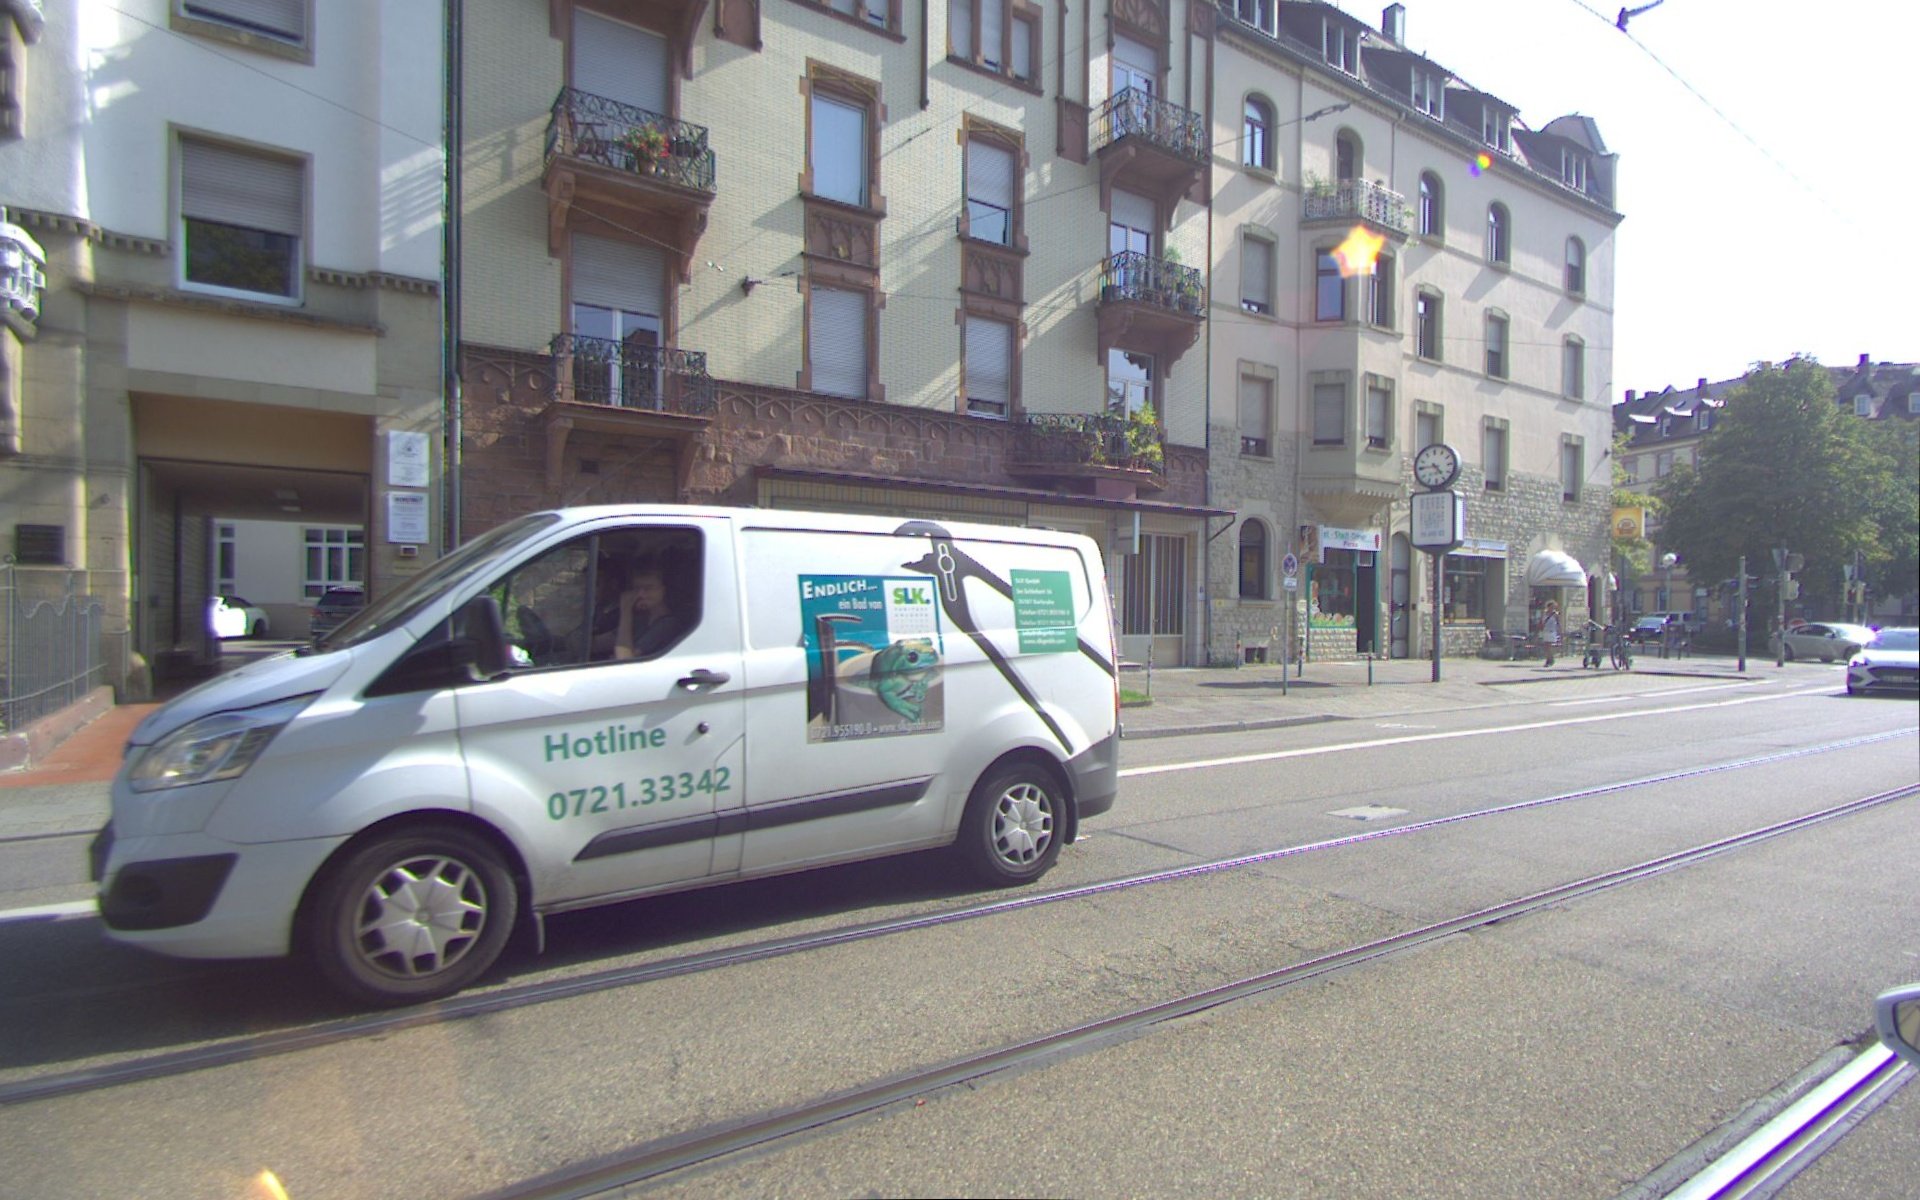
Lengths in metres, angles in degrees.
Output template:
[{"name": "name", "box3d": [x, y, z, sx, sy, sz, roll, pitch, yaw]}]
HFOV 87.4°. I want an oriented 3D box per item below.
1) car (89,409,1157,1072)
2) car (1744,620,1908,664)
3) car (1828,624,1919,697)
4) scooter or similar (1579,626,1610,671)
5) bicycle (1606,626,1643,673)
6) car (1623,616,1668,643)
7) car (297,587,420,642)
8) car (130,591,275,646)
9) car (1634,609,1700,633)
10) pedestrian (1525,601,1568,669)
[{"name": "car", "box3d": [-1.329, 0.471, 5.344, 4.814, 2.040, 1.979, 1, -1, -37]}, {"name": "car", "box3d": [32.319, 1.528, 37.709, 1.834, 1.486, 4.784, 1, 0, -3]}, {"name": "car", "box3d": [20.885, 1.269, 22.037, 4.502, 1.473, 1.859, 1, -3, -37]}, {"name": "scooter or similar", "box3d": [17.876, 1.354, 28.314, 0.359, 1.213, 1.035, 1, 0, 11]}, {"name": "bicycle", "box3d": [18.623, 1.369, 28.126, 1.844, 1.243, 0.449, 1, -1, -43]}, {"name": "car", "box3d": [40.942, 1.734, 59.946, 1.841, 1.486, 4.766, 0, -1, 38]}, {"name": "car", "box3d": [-18.159, 0.448, 30.550, 1.739, 1.547, 3.995, 1, -1, -8]}, {"name": "car", "box3d": [-22.824, 0.557, 30.478, 1.739, 1.547, 3.995, 1, -1, -8]}, {"name": "car", "box3d": [55.368, 1.611, 78.719, 1.965, 1.852, 3.992, 1, 0, -11]}, {"name": "pedestrian", "box3d": [16.626, 0.978, 28.483, 0.822, 1.884, 0.768, 1, 0, -35]}]
